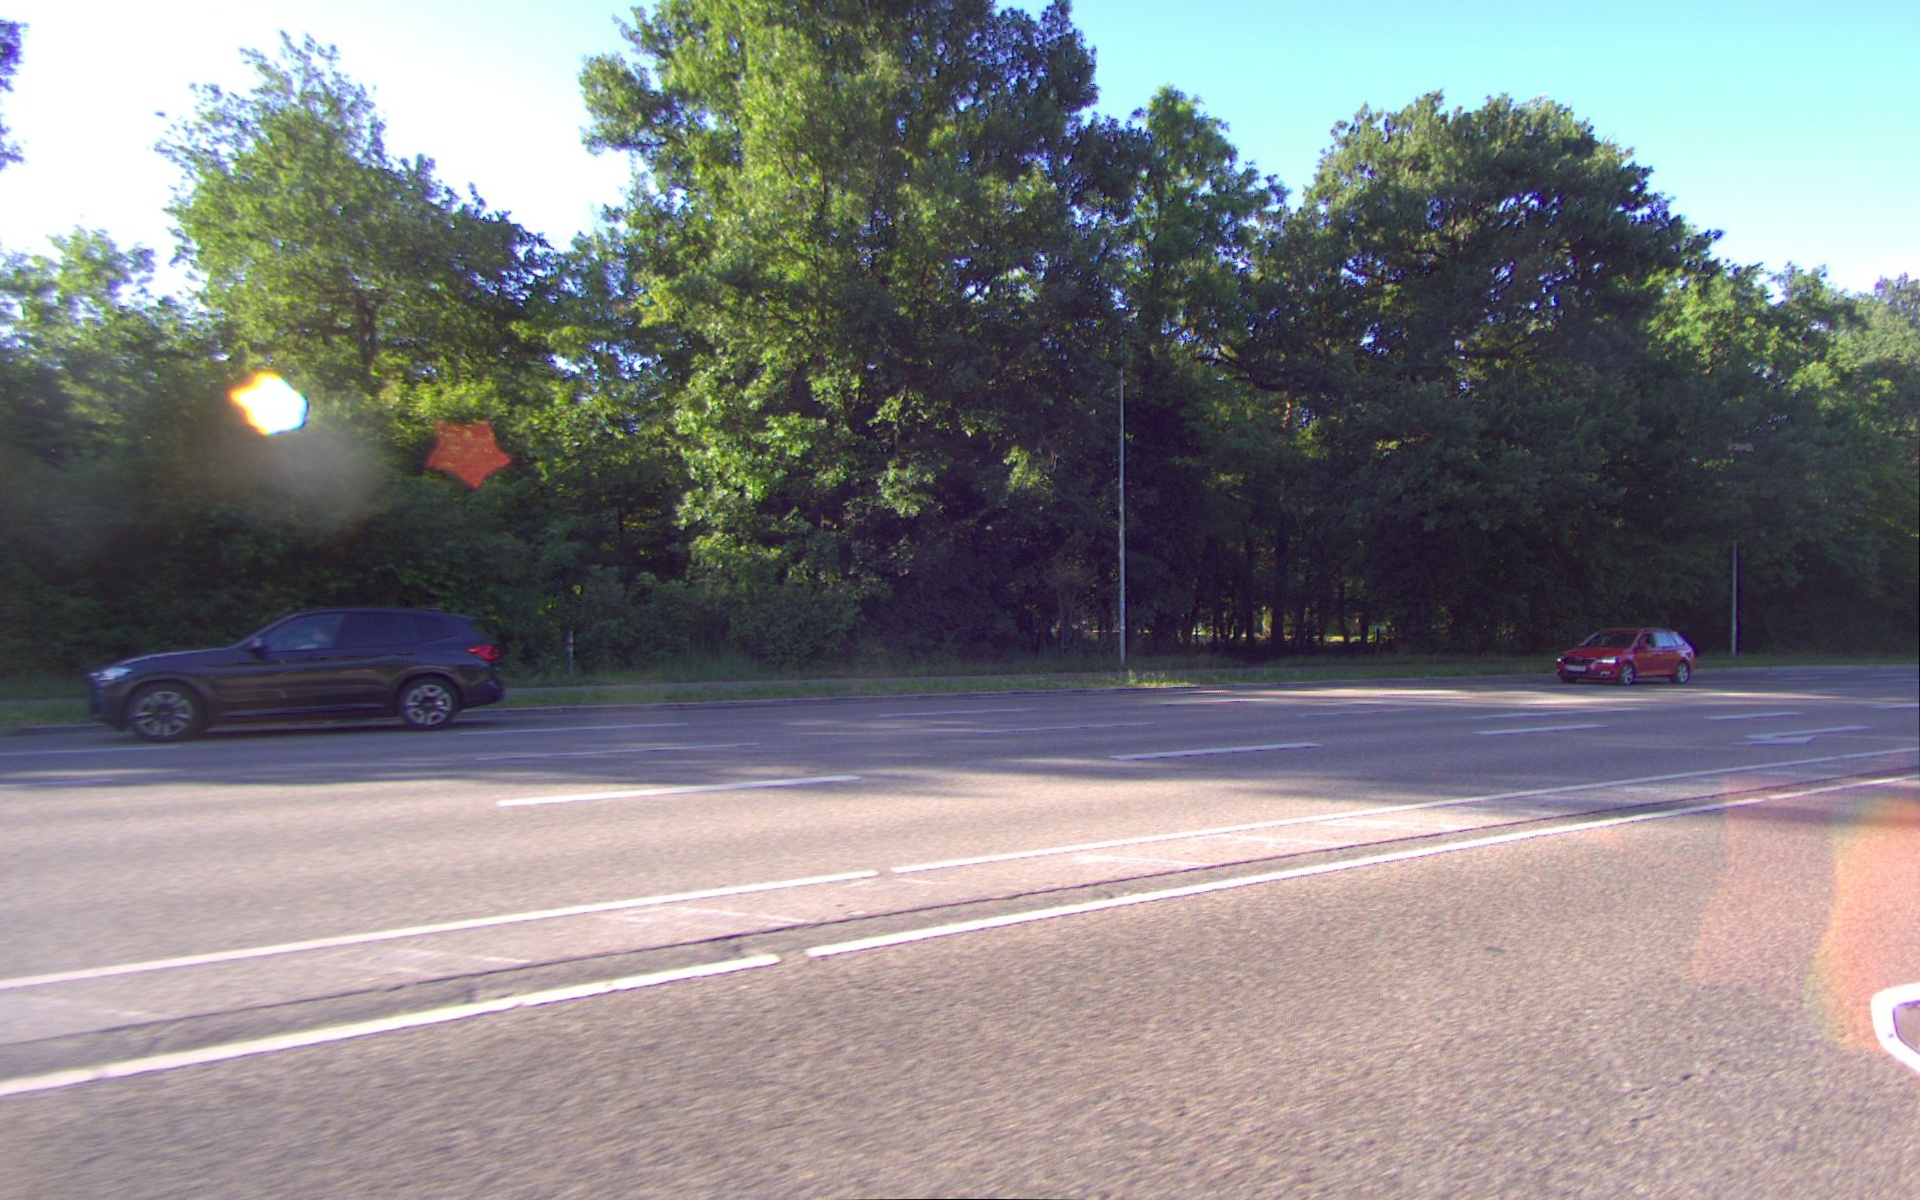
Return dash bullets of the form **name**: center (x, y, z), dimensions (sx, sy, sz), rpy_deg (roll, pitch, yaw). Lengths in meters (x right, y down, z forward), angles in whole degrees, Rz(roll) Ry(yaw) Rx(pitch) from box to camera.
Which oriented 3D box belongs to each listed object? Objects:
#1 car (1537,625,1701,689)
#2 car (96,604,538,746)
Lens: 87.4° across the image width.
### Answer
- **car**: center (17.885, 1.496, 27.227), dimensions (4.285, 1.585, 1.985), rpy_deg (1, -1, -29)
- **car**: center (-8.542, 0.942, 13.856), dimensions (4.788, 1.658, 1.984), rpy_deg (1, -1, -31)
